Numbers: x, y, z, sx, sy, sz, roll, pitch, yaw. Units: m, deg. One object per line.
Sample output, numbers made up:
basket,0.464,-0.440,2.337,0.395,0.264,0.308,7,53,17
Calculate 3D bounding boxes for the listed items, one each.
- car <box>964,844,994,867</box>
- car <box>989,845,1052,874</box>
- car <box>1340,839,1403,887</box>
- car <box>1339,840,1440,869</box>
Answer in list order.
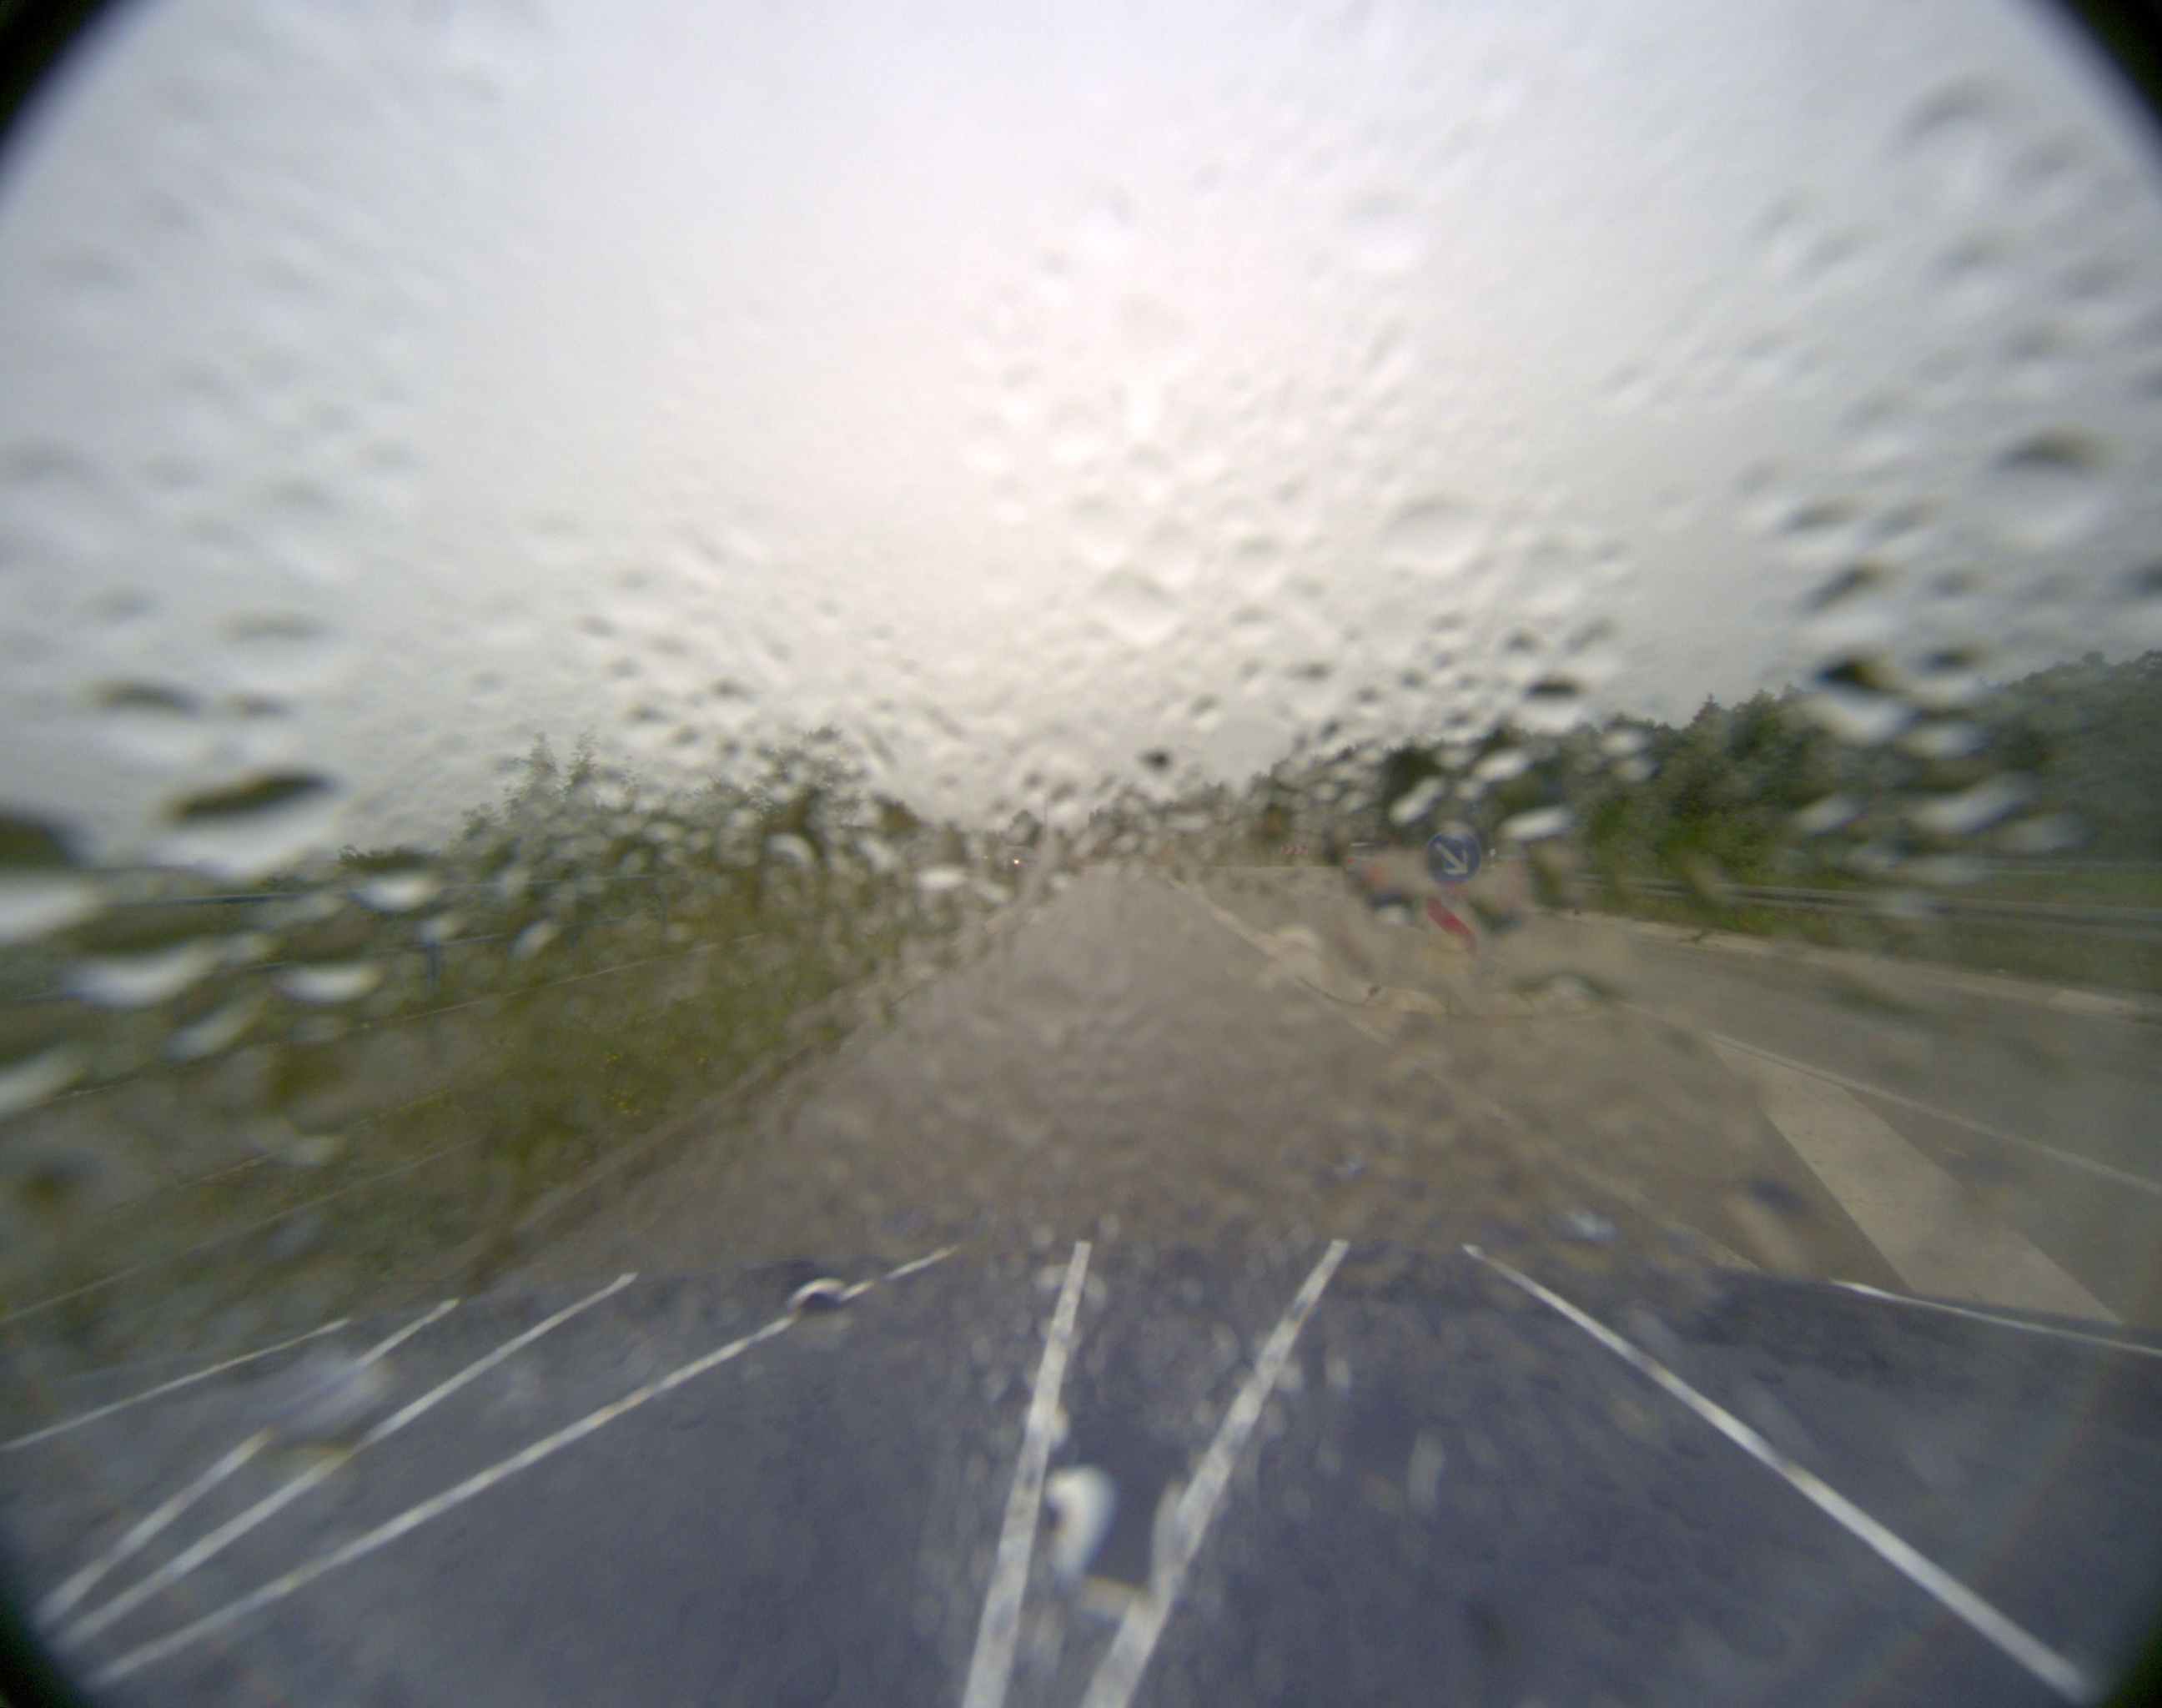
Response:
car,-6.707,0.137,49.792,1.764,1.412,4.500,0,-1,-10
car,-3.141,0.301,38.547,1.952,1.363,4.495,0,-1,-22
car,10.939,0.304,28.481,1.802,1.566,4.006,-1,2,27
car,15.683,0.026,38.709,4.504,1.412,1.872,-1,0,-11
